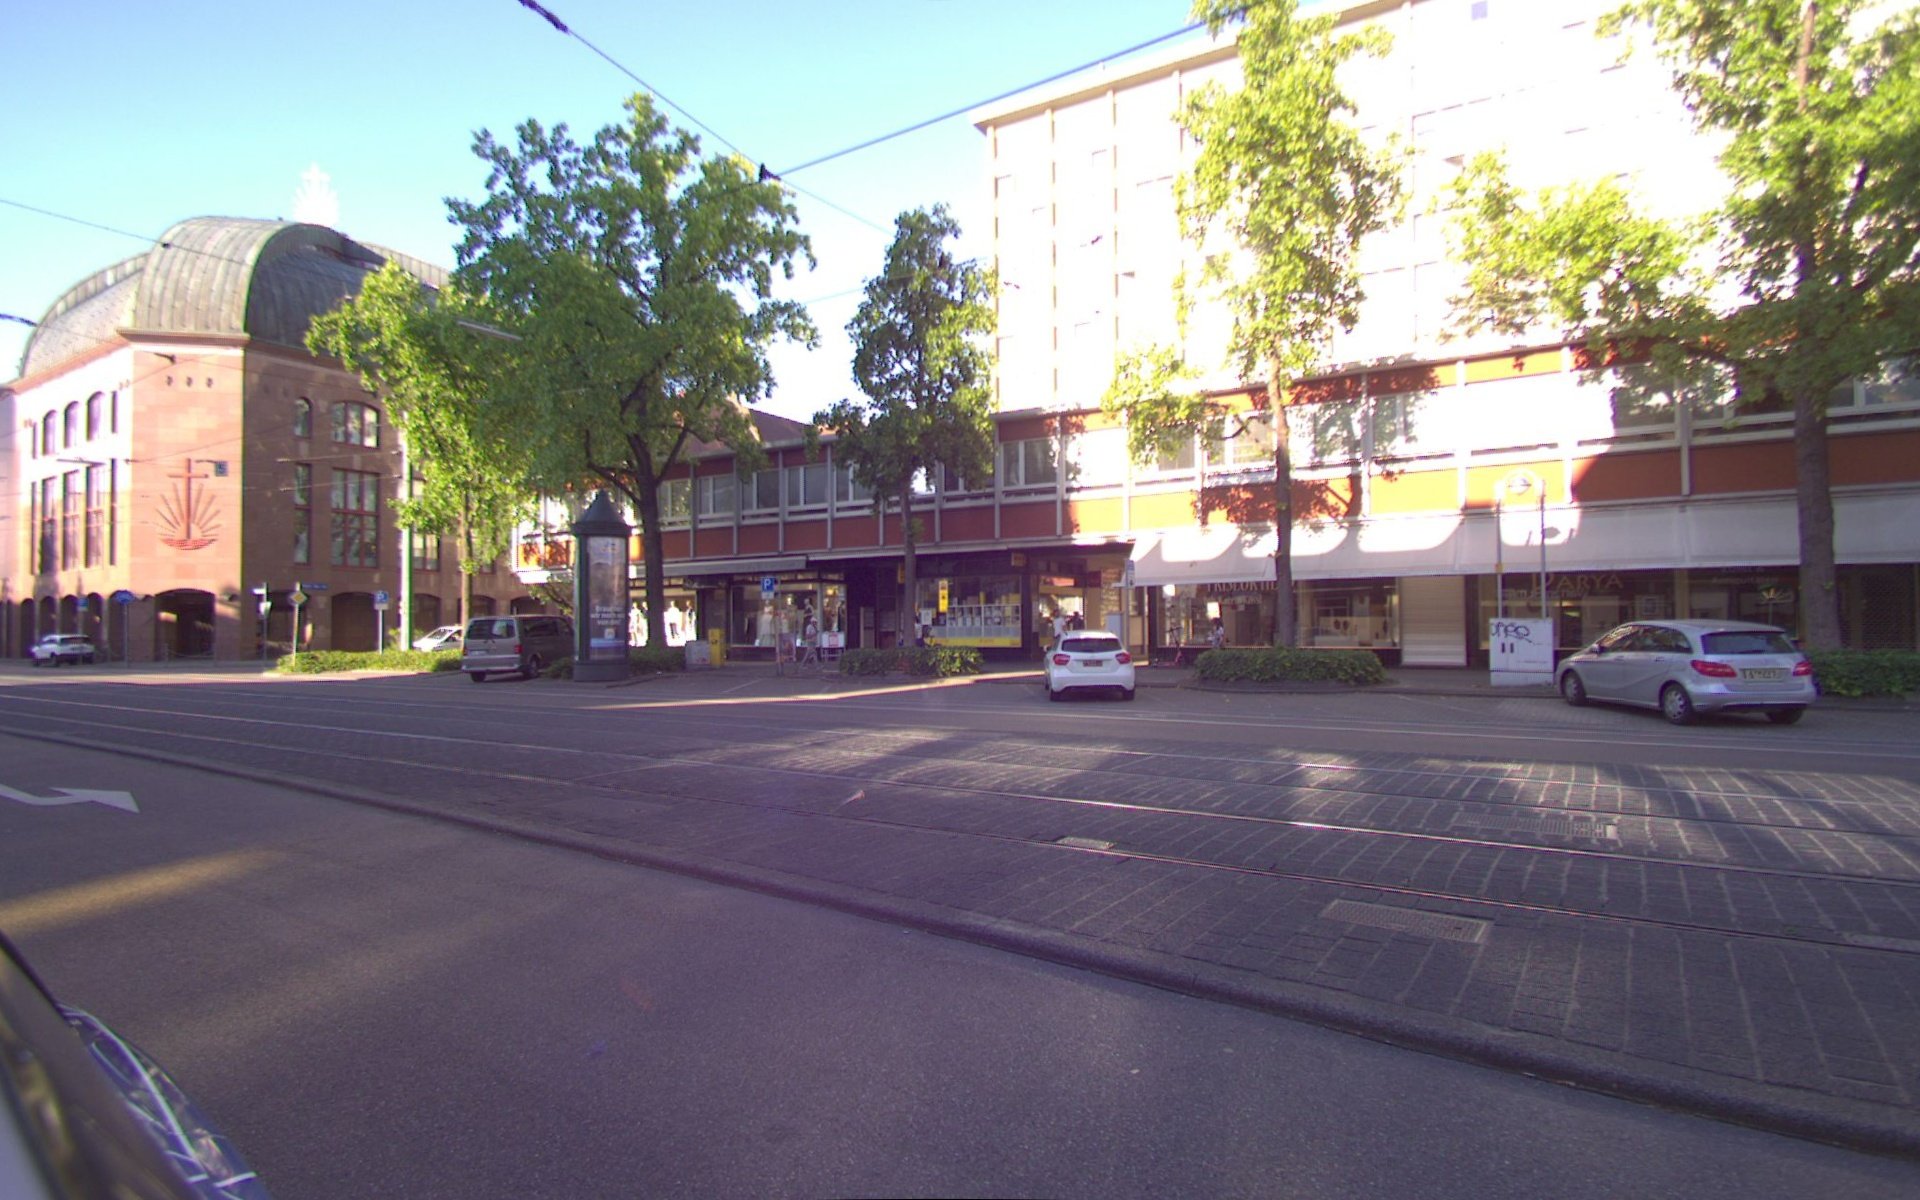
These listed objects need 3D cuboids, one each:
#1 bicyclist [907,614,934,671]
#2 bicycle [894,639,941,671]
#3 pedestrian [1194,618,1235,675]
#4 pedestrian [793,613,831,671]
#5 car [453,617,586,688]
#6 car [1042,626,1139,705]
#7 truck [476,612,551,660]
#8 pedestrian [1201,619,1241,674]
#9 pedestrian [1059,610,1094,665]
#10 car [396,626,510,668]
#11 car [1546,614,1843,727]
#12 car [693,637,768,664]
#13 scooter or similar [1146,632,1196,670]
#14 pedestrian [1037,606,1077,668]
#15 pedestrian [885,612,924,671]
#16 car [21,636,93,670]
[{"bbox_3d":[-1.303,1.410,33.617,0.818,1.836,0.491,-1,-2,7],"label":"bicyclist"},{"bbox_3d":[-1.410,1.814,33.619,1.479,1.033,0.491,-1,-2,7],"label":"bicycle"},{"bbox_3d":[6.901,1.258,27.408,0.897,1.509,0.682,-2,-2,31],"label":"pedestrian"},{"bbox_3d":[-4.897,1.396,33.527,0.895,1.892,0.911,-1,-2,25],"label":"pedestrian"},{"bbox_3d":[-13.642,1.551,31.740,1.829,1.943,5.119,-1,0,2],"label":"car"},{"bbox_3d":[2.784,1.359,22.350,1.743,1.440,4.266,-1,0,3],"label":"car"},{"bbox_3d":[-26.870,2.154,60.896,4.512,2.784,1.838,-2,-2,29],"label":"truck"},{"bbox_3d":[7.236,1.286,28.025,0.897,1.481,0.682,-2,-2,31],"label":"pedestrian"},{"bbox_3d":[4.058,1.293,35.251,0.914,1.892,0.892,-2,-2,27],"label":"pedestrian"},{"bbox_3d":[-26.655,2.433,53.376,2.125,1.982,4.942,2,0,31],"label":"car"},{"bbox_3d":[11.664,1.031,16.518,1.803,1.578,4.277,-1,0,2],"label":"car"},{"bbox_3d":[-13.570,2.952,59.742,4.087,1.590,2.016,-1,-2,32],"label":"car"},{"bbox_3d":[6.196,1.488,29.695,1.333,1.102,0.471,-2,-1,32],"label":"scooter or similar"},{"bbox_3d":[3.154,1.207,32.987,0.884,1.963,0.999,0,-2,-25],"label":"pedestrian"},{"bbox_3d":[-1.813,1.339,33.092,0.897,1.892,0.909,-2,-2,31],"label":"pedestrian"},{"bbox_3d":[-45.930,2.661,51.442,4.263,1.602,1.583,-2,0,32],"label":"car"}]
